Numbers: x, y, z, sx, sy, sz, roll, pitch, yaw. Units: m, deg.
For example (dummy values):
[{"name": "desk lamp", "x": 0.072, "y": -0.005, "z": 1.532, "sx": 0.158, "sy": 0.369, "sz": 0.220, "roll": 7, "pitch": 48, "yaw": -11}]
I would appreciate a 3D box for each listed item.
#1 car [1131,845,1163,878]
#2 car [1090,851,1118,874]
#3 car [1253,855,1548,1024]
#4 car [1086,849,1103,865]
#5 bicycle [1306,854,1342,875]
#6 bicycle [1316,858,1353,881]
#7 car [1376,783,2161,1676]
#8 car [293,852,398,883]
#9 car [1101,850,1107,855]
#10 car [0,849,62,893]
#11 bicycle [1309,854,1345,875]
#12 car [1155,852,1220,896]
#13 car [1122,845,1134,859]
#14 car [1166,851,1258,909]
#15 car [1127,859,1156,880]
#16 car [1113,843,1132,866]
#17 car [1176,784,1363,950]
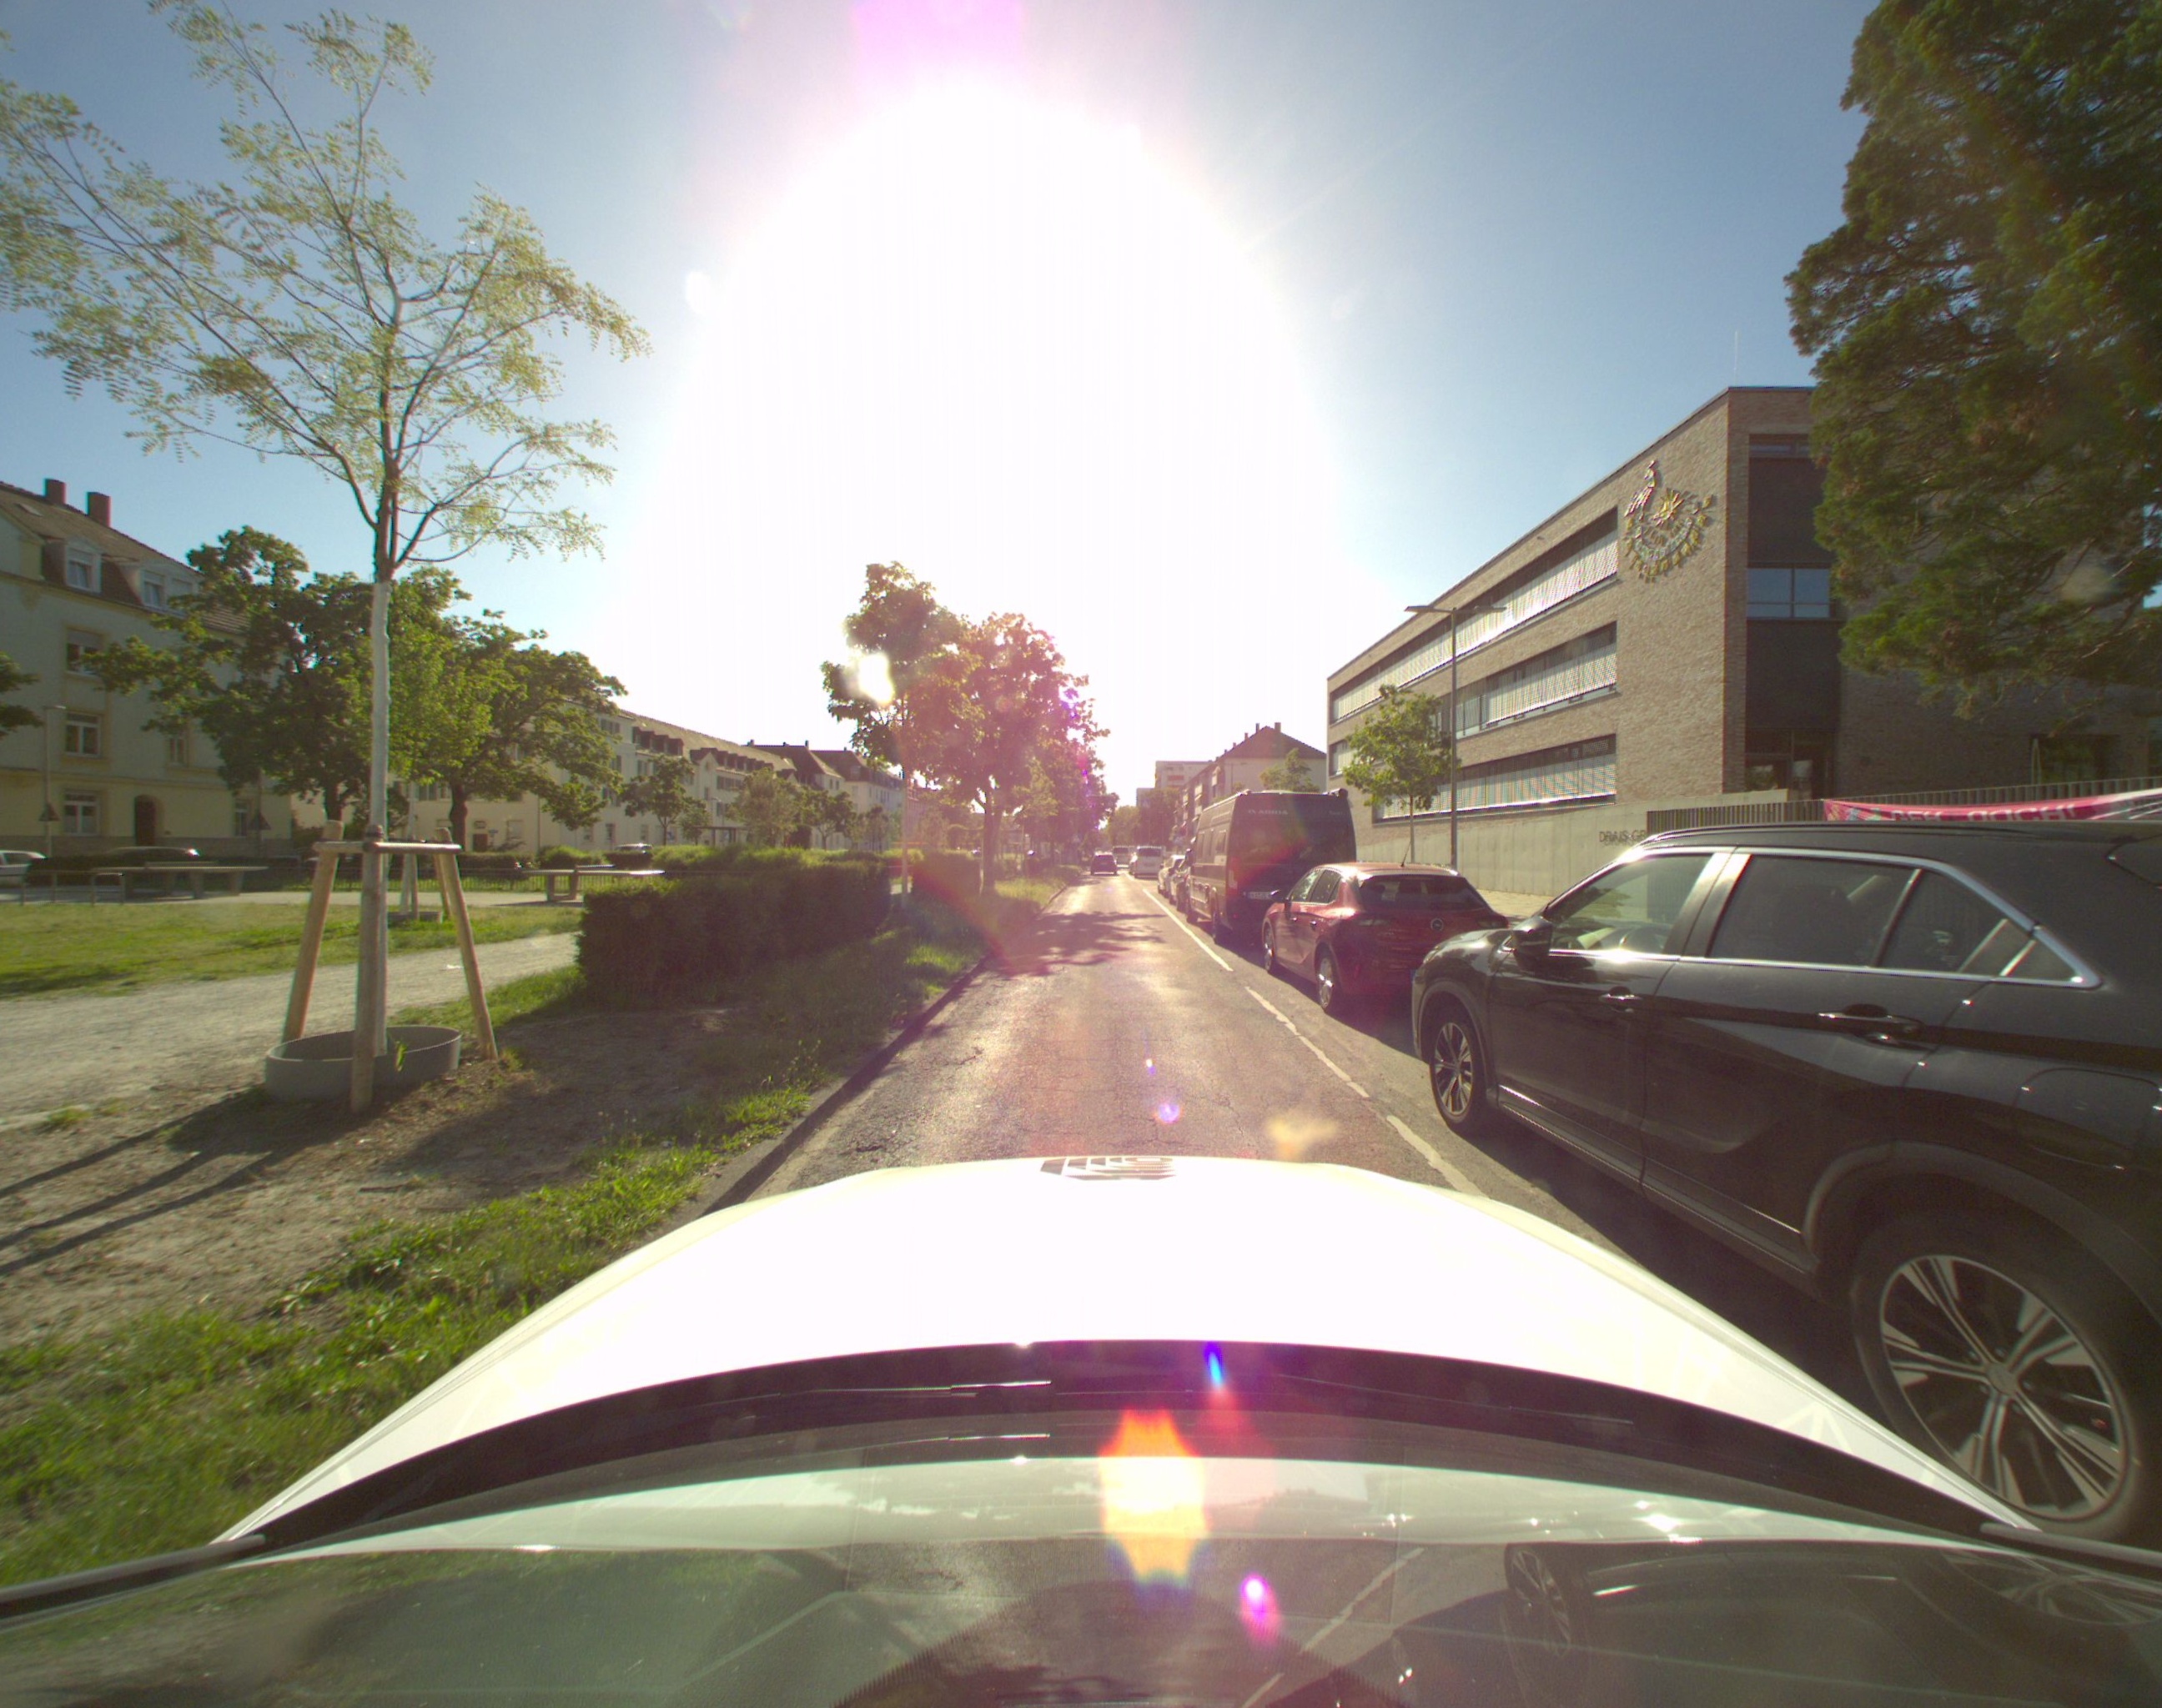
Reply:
[{"name": "car", "x": 3.940, "y": 0.408, "z": 48.990, "sx": 1.786, "sy": 1.855, "sz": 4.417, "roll": 0, "pitch": 0, "yaw": 4}, {"name": "car", "x": 1.542, "y": 0.542, "z": 54.808, "sx": 1.787, "sy": 1.510, "sz": 4.002, "roll": 0, "pitch": 0, "yaw": 2}, {"name": "car", "x": 3.195, "y": 0.741, "z": 9.047, "sx": 1.788, "sy": 1.455, "sz": 3.950, "roll": 0, "pitch": 0, "yaw": 1}, {"name": "car", "x": 1.451, "y": 0.296, "z": 86.986, "sx": 1.787, "sy": 1.624, "sz": 4.002, "roll": 1, "pitch": 0, "yaw": 2}, {"name": "bicycle", "x": 13.456, "y": 0.565, "z": 45.093, "sx": 1.789, "sy": 1.107, "sz": 0.500, "roll": -2, "pitch": 0, "yaw": -1}, {"name": "bicycle", "x": 13.603, "y": 0.828, "z": 43.736, "sx": 1.789, "sy": 1.107, "sz": 0.500, "roll": -2, "pitch": 0, "yaw": -1}, {"name": "car", "x": 2.931, "y": 0.686, "z": 3.390, "sx": 1.840, "sy": 1.640, "sz": 4.504, "roll": 0, "pitch": 0, "yaw": 1}, {"name": "car", "x": -38.608, "y": 0.673, "z": 42.871, "sx": 1.787, "sy": 1.510, "sz": 4.002, "roll": 1, "pitch": 0, "yaw": 2}, {"name": "car", "x": 6.758, "y": -0.494, "z": 242.247, "sx": 1.787, "sy": 1.510, "sz": 4.002, "roll": -1, "pitch": 0, "yaw": 2}, {"name": "car", "x": -39.034, "y": 0.608, "z": 28.426, "sx": 1.787, "sy": 1.510, "sz": 4.002, "roll": 1, "pitch": 0, "yaw": 2}, {"name": "bicycle", "x": 13.435, "y": 0.567, "z": 44.543, "sx": 1.789, "sy": 1.107, "sz": 0.500, "roll": -2, "pitch": 0, "yaw": -1}, {"name": "car", "x": 3.653, "y": 0.625, "z": 28.645, "sx": 1.788, "sy": 1.420, "sz": 4.658, "roll": 0, "pitch": 0, "yaw": 1}, {"name": "car", "x": 8.495, "y": -0.380, "z": 147.186, "sx": 1.986, "sy": 2.430, "sz": 4.502, "roll": 2, "pitch": 0, "yaw": 2}, {"name": "car", "x": 3.509, "y": 0.641, "z": 22.616, "sx": 1.986, "sy": 1.420, "sz": 4.638, "roll": 0, "pitch": 0, "yaw": 2}, {"name": "car", "x": 4.079, "y": 1.017, "z": 55.307, "sx": 1.758, "sy": 1.319, "sz": 4.169, "roll": 1, "pitch": 0, "yaw": 2}, {"name": "car", "x": 3.938, "y": 0.051, "z": 77.717, "sx": 1.787, "sy": 2.122, "sz": 4.002, "roll": 0, "pitch": 0, "yaw": 2}, {"name": "car", "x": 3.248, "y": 0.187, "z": 15.628, "sx": 2.108, "sy": 2.515, "sz": 6.531, "roll": 0, "pitch": 0, "yaw": 0}]
